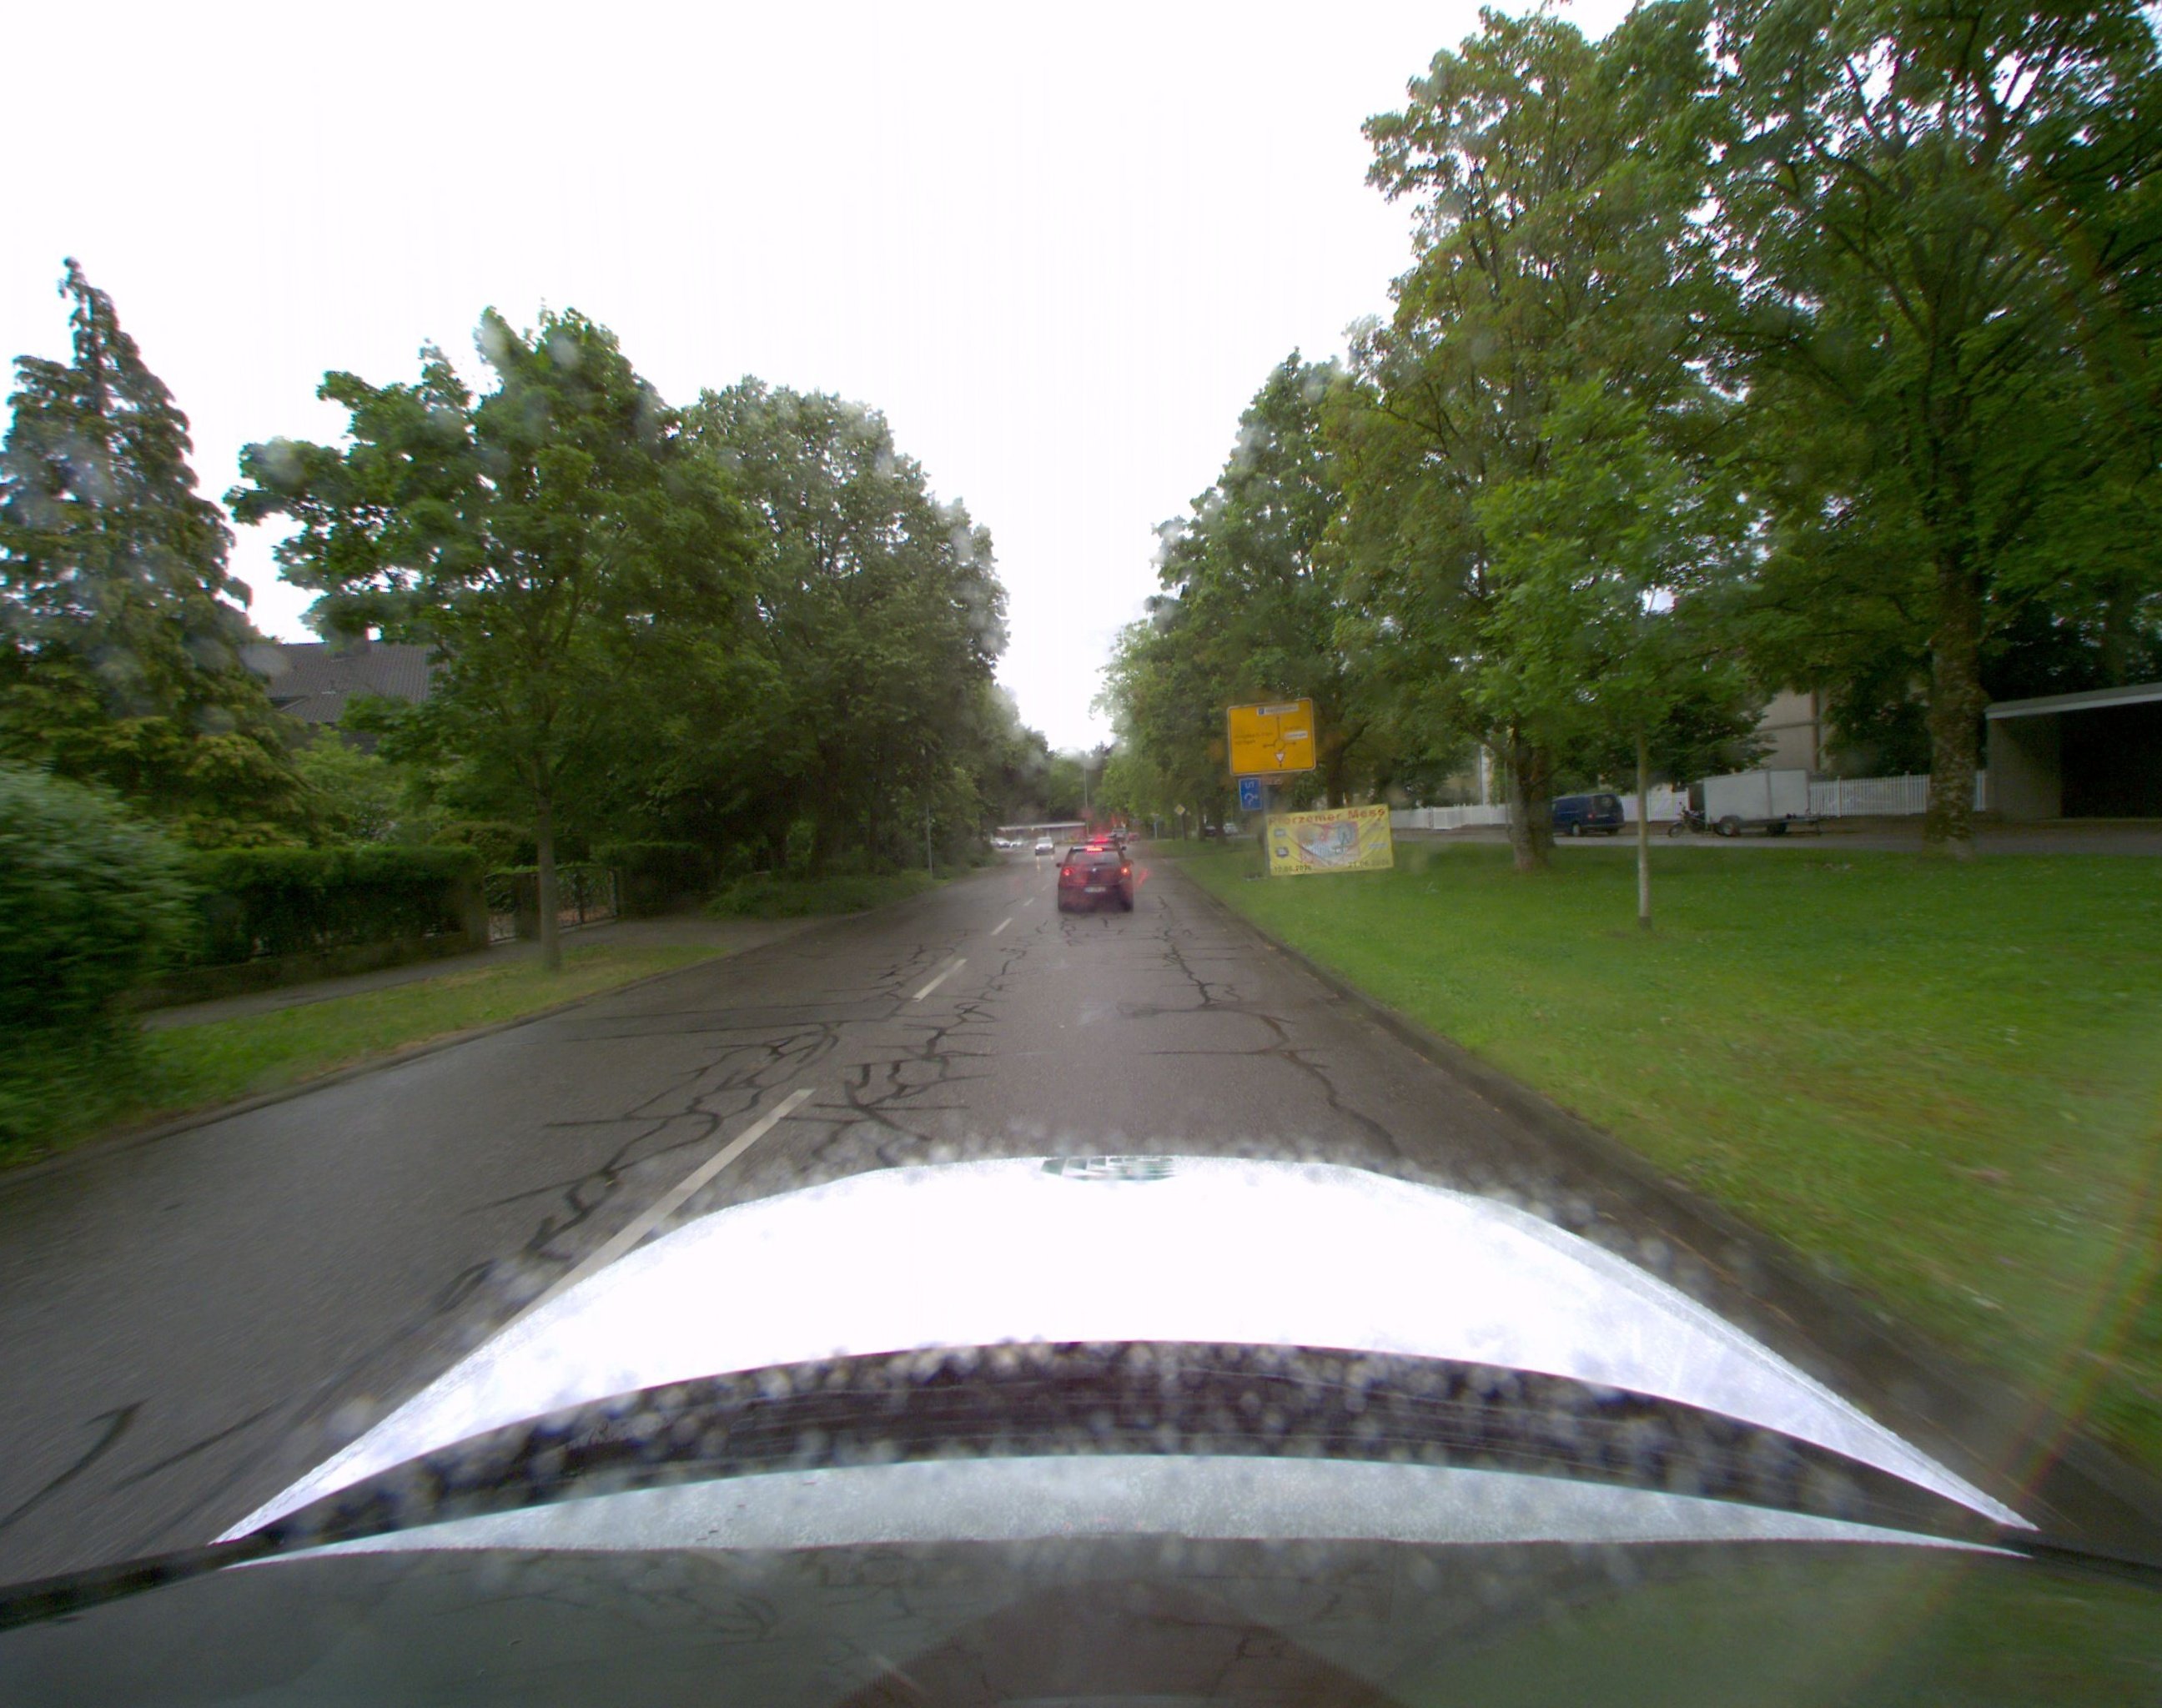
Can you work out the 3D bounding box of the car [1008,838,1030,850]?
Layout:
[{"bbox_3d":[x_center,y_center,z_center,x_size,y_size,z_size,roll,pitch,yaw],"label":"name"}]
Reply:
[{"bbox_3d":[-9.171,-1.478,121.236,1.594,1.427,4.030,-3,2,21],"label":"car"}]

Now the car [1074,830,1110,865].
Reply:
[{"bbox_3d":[0.667,-0.379,46.259,1.848,1.784,4.003,-3,1,2],"label":"car"}]

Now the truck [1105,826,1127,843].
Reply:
[{"bbox_3d":[4.631,-2.513,106.190,2.404,2.004,5.161,-3,1,7],"label":"truck"}]

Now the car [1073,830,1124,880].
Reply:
[{"bbox_3d":[0.762,-0.004,32.970,1.848,1.784,4.003,-3,1,2],"label":"car"}]

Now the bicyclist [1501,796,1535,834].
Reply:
[{"bbox_3d":[16.850,-1.479,31.420,0.742,1.390,1.000,-3,0,2],"label":"bicyclist"}]

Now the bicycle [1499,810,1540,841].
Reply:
[{"bbox_3d":[16.861,-1.073,31.367,0.593,1.138,1.864,-3,1,2],"label":"bicycle"}]

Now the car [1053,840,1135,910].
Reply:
[{"bbox_3d":[0.368,0.425,19.761,1.792,1.515,3.756,-1,1,2],"label":"car"}]

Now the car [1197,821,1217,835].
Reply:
[{"bbox_3d":[14.671,-3.034,94.913,1.796,1.385,4.003,-5,2,2],"label":"car"}]

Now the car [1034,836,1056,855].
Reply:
[{"bbox_3d":[-3.336,-0.845,76.197,1.757,1.614,4.142,-4,1,1],"label":"car"}]

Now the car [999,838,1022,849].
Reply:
[{"bbox_3d":[-11.299,-1.721,130.625,1.755,1.617,3.827,-2,1,27],"label":"car"}]

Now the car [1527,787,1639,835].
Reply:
[{"bbox_3d":[21.996,-1.885,35.909,1.936,1.808,4.648,-5,2,-1],"label":"car"}]

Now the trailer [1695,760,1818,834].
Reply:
[{"bbox_3d":[22.119,-1.811,26.784,1.433,2.154,2.947,-3,0,-3],"label":"trailer"}]

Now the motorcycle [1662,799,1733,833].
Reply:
[{"bbox_3d":[21.841,-1.346,28.878,1.869,1.092,0.662,-2,2,21],"label":"motorcycle"}]

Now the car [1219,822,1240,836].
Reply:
[{"bbox_3d":[17.254,-2.923,94.881,1.796,1.406,4.003,-5,2,2],"label":"car"}]
